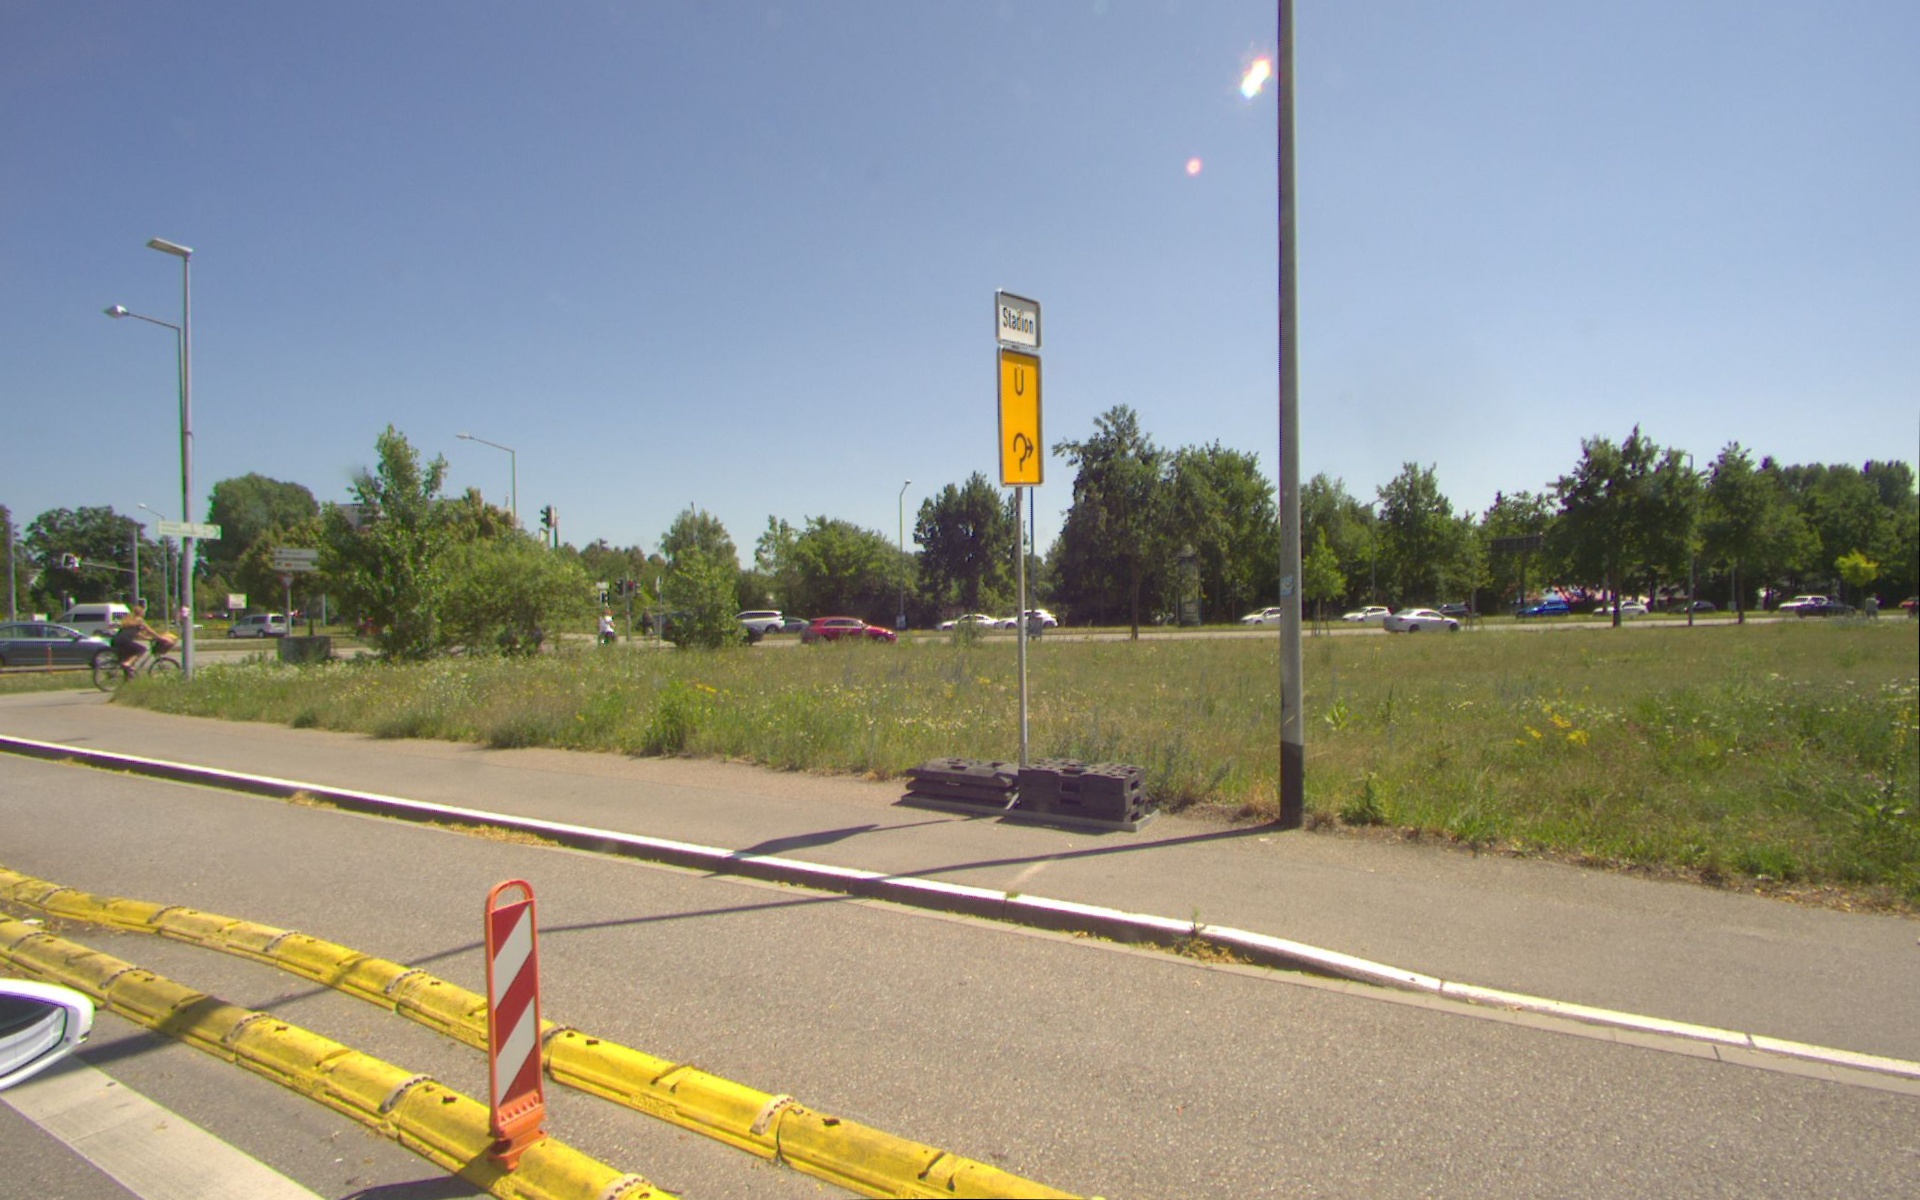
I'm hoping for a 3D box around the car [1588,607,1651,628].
[{"bbox_3d":[52.653,1.398,79.960,4.365,1.612,1.846,0,-2,-16],"label":"car"}]

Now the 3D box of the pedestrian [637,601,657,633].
[{"bbox_3d":[-16.695,0.927,53.415,0.954,1.681,0.885,0,-1,-16],"label":"pedestrian"}]

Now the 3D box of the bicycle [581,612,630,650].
[{"bbox_3d":[-13.174,1.153,37.265,0.628,1.370,2.896,0,-2,4],"label":"bicycle"}]

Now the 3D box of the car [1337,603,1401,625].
[{"bbox_3d":[31.565,1.075,77.318,4.365,1.613,1.845,0,0,-16],"label":"car"}]

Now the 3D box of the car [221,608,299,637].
[{"bbox_3d":[-52.815,1.704,75.568,5.232,2.097,1.992,-1,-2,17],"label":"car"}]

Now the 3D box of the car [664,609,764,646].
[{"bbox_3d":[-11.406,1.222,46.350,4.343,1.616,1.995,0,0,-19],"label":"car"}]

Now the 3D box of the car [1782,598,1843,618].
[{"bbox_3d":[72.209,0.685,84.783,4.366,1.612,1.846,0,-2,-17],"label":"car"}]

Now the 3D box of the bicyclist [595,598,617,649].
[{"bbox_3d":[-13.140,0.886,37.156,0.597,1.864,0.572,0,-1,2],"label":"bicyclist"}]

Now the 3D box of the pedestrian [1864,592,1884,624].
[{"bbox_3d":[47.362,0.430,51.884,0.548,1.611,0.662,1,-1,-32],"label":"pedestrian"}]

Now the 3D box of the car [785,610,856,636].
[{"bbox_3d":[-9.055,1.520,65.010,4.365,1.612,1.846,0,-2,-16],"label":"car"}]

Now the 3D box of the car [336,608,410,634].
[{"bbox_3d":[-38.610,1.404,65.871,4.269,1.675,1.899,-1,-2,18],"label":"car"}]

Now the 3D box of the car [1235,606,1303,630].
[{"bbox_3d":[21.944,1.305,71.094,4.365,1.612,1.846,0,-2,-16],"label":"car"}]

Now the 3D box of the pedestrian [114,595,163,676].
[{"bbox_3d":[-17.746,0.774,21.631,0.569,1.713,0.729,-1,-2,42],"label":"pedestrian"}]

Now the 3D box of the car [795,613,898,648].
[{"bbox_3d":[-5.132,1.385,45.096,4.340,1.546,1.998,0,-2,-15],"label":"car"}]

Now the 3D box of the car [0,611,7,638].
[{"bbox_3d":[-74.627,1.822,74.420,5.263,1.986,1.980,1,-2,-36],"label":"car"}]

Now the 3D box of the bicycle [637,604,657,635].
[{"bbox_3d":[-16.738,1.062,53.553,0.967,1.617,2.879,0,-2,-16],"label":"bicycle"}]

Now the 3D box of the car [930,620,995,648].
[{"bbox_3d":[0.145,2.287,67.579,4.074,1.840,1.662,0,-2,-15],"label":"car"}]

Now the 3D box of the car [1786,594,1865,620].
[{"bbox_3d":[61.609,0.552,71.293,5.241,1.758,1.995,1,-2,-21],"label":"car"}]

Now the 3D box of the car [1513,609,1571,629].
[{"bbox_3d":[47.384,1.568,81.533,3.927,1.558,1.764,0,-2,-14],"label":"car"}]

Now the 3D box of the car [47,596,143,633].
[{"bbox_3d":[-58.169,0.977,67.383,5.226,2.427,1.994,0,-1,9],"label":"car"}]

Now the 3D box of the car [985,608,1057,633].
[{"bbox_3d":[4.007,1.386,65.731,4.365,1.612,1.846,0,-2,-16],"label":"car"}]

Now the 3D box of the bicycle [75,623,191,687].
[{"bbox_3d":[-17.788,1.160,21.579,0.607,1.247,1.832,-1,0,43],"label":"bicycle"}]

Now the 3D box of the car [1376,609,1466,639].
[{"bbox_3d":[25.162,1.309,54.626,4.344,1.547,1.995,0,0,-20],"label":"car"}]

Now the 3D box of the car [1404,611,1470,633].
[{"bbox_3d":[35.756,1.674,75.042,4.365,1.612,1.846,0,-2,-16],"label":"car"}]

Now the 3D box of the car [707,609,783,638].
[{"bbox_3d":[-12.993,1.430,60.516,4.365,1.758,1.846,0,-2,-16],"label":"car"}]

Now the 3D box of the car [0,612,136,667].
[{"bbox_3d":[-27.402,1.177,29.739,1.708,1.571,4.309,-2,-2,41],"label":"car"}]
